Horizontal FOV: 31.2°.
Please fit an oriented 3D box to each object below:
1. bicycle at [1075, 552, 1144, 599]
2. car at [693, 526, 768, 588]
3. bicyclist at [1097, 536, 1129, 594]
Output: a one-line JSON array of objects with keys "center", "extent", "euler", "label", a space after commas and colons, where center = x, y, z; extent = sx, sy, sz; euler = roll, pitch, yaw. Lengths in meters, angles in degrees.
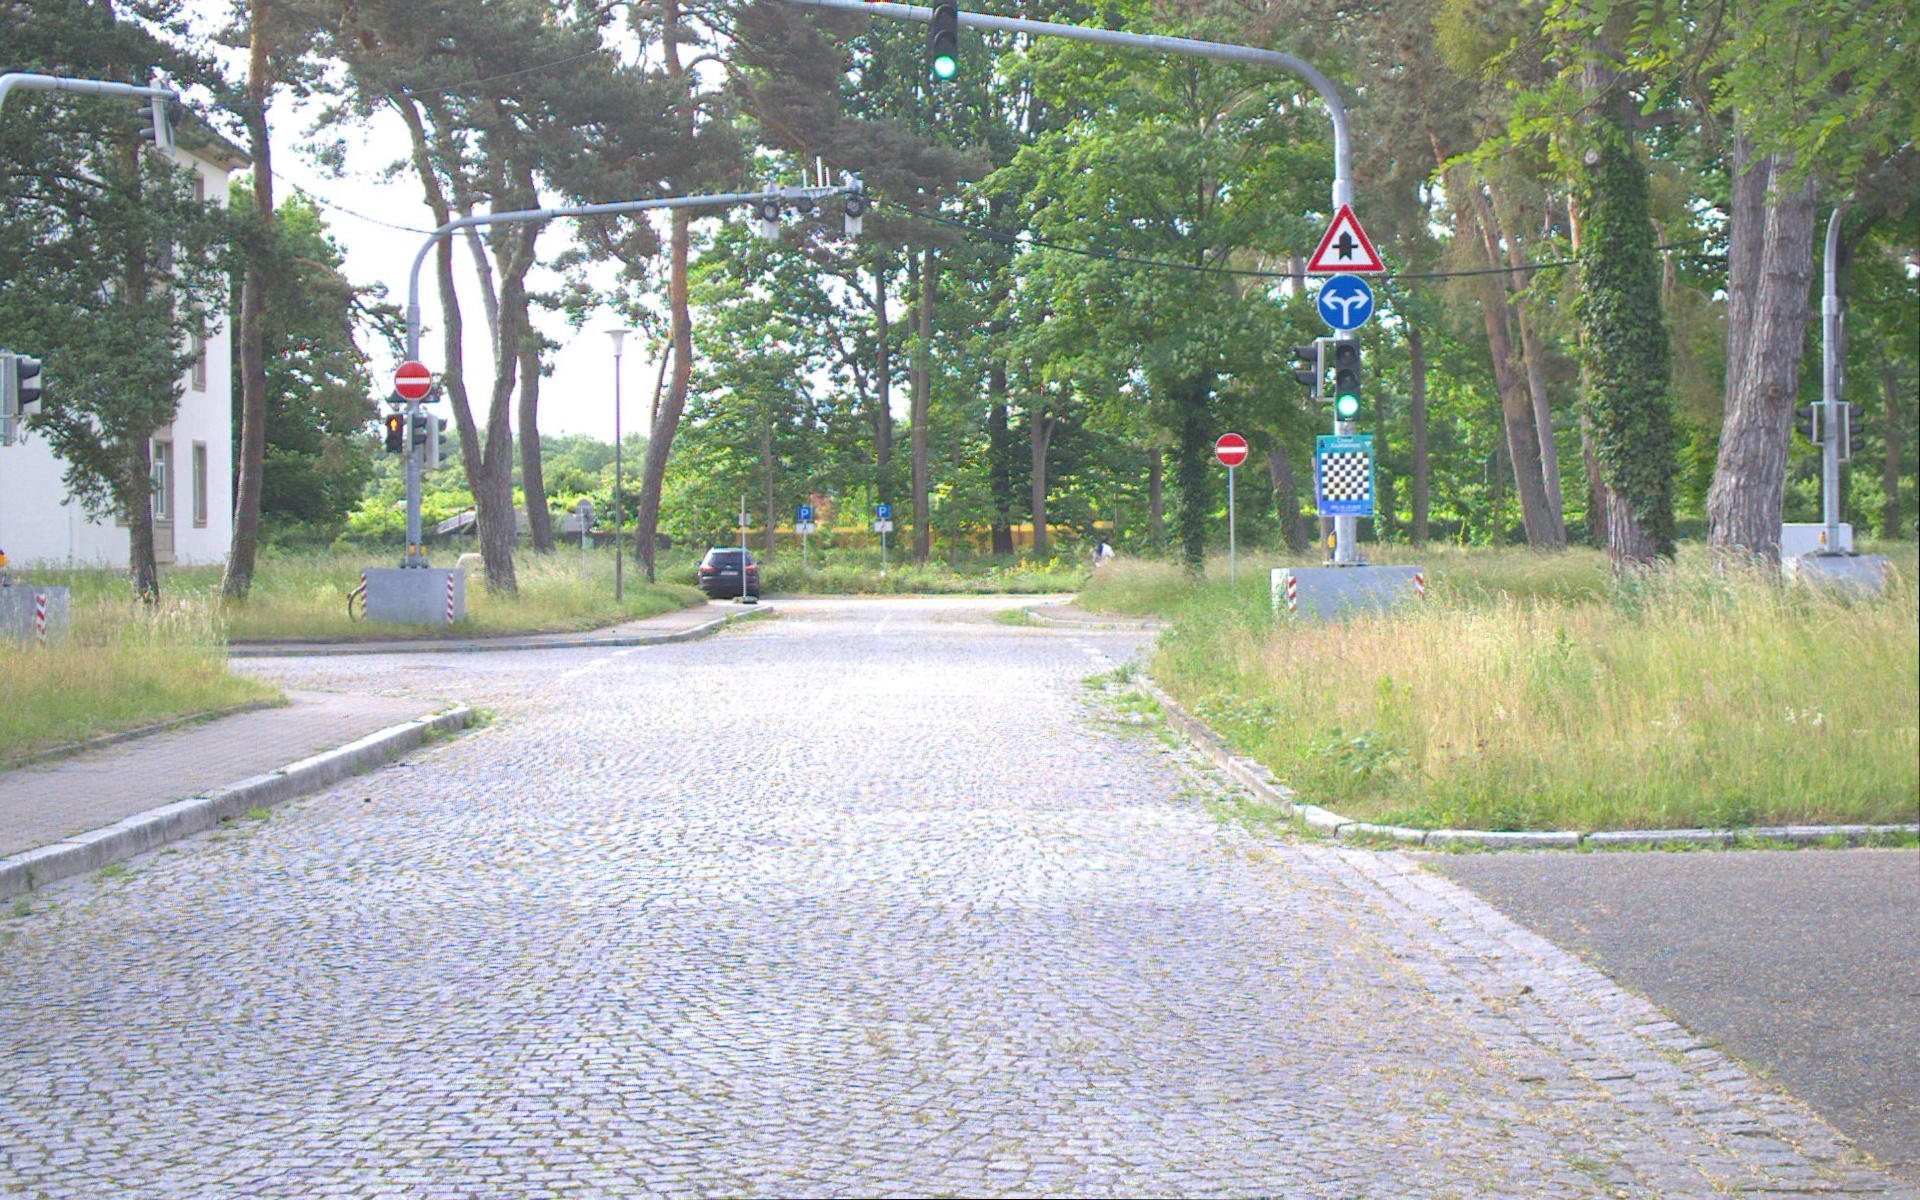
[{"center": [4.346, -0.705, 99.990], "extent": [1.968, 1.316, 0.518], "euler": [1, 0, -23], "label": "bicycle"}, {"center": [-6.935, -1.315, 104.225], "extent": [2.056, 1.840, 4.000], "euler": [0, 1, -1], "label": "car"}, {"center": [4.448, -1.010, 100.025], "extent": [0.748, 1.665, 0.526], "euler": [1, 0, -24], "label": "bicyclist"}]
